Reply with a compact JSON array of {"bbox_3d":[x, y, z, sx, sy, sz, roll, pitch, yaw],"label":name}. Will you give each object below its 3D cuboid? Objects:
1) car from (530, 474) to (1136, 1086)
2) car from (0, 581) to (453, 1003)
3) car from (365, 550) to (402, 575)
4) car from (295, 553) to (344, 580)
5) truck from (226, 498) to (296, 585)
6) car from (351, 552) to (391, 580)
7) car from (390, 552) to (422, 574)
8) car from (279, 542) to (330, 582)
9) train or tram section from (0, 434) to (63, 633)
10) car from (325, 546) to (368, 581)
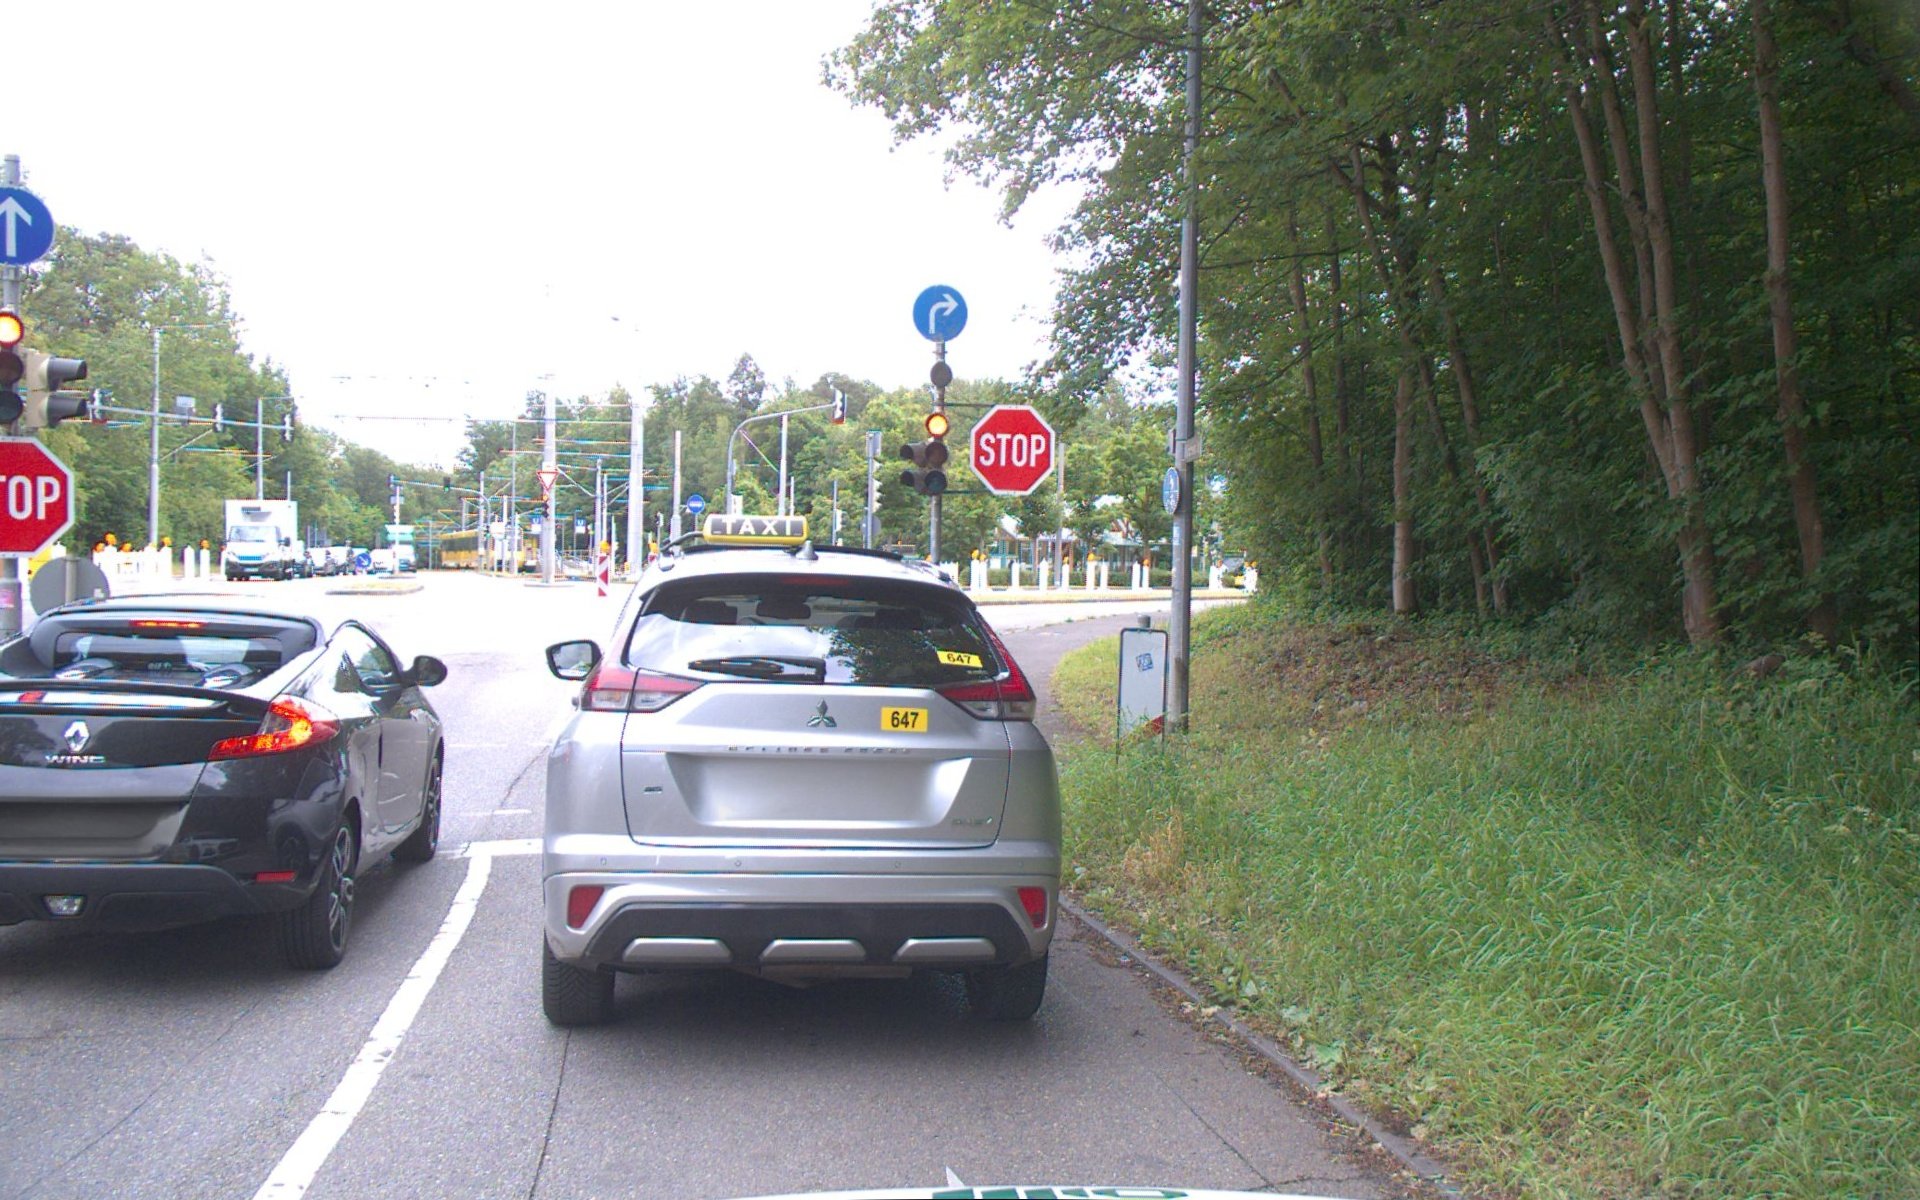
[{"bbox_3d":[-0.644,0.518,6.804,1.741,1.778,3.773,2,1,-9],"label":"car"},{"bbox_3d":[-3.346,0.628,7.307,1.742,1.385,3.467,0,1,-11],"label":"car"},{"bbox_3d":[-37.017,-2.417,106.316,1.930,1.568,4.378,1,1,-16],"label":"car"},{"bbox_3d":[-33.405,-1.766,86.300,1.930,1.385,4.670,1,1,-16],"label":"car"},{"bbox_3d":[-28.007,-2.294,66.482,2.414,3.280,7.109,0,1,-22],"label":"truck"},{"bbox_3d":[-35.794,-2.096,100.580,1.930,1.635,4.292,1,1,-16],"label":"car"},{"bbox_3d":[-39.989,-2.671,119.390,1.930,1.567,4.292,1,1,-16],"label":"car"},{"bbox_3d":[-30.985,-1.805,78.258,1.932,1.780,4.821,0,1,-18],"label":"car"},{"bbox_3d":[-27.047,-1.675,32.858,2.887,4.732,18.542,1,0,22],"label":"train or tram section"},{"bbox_3d":[-34.960,-2.097,94.376,1.930,1.877,4.670,1,1,-16],"label":"car"}]
